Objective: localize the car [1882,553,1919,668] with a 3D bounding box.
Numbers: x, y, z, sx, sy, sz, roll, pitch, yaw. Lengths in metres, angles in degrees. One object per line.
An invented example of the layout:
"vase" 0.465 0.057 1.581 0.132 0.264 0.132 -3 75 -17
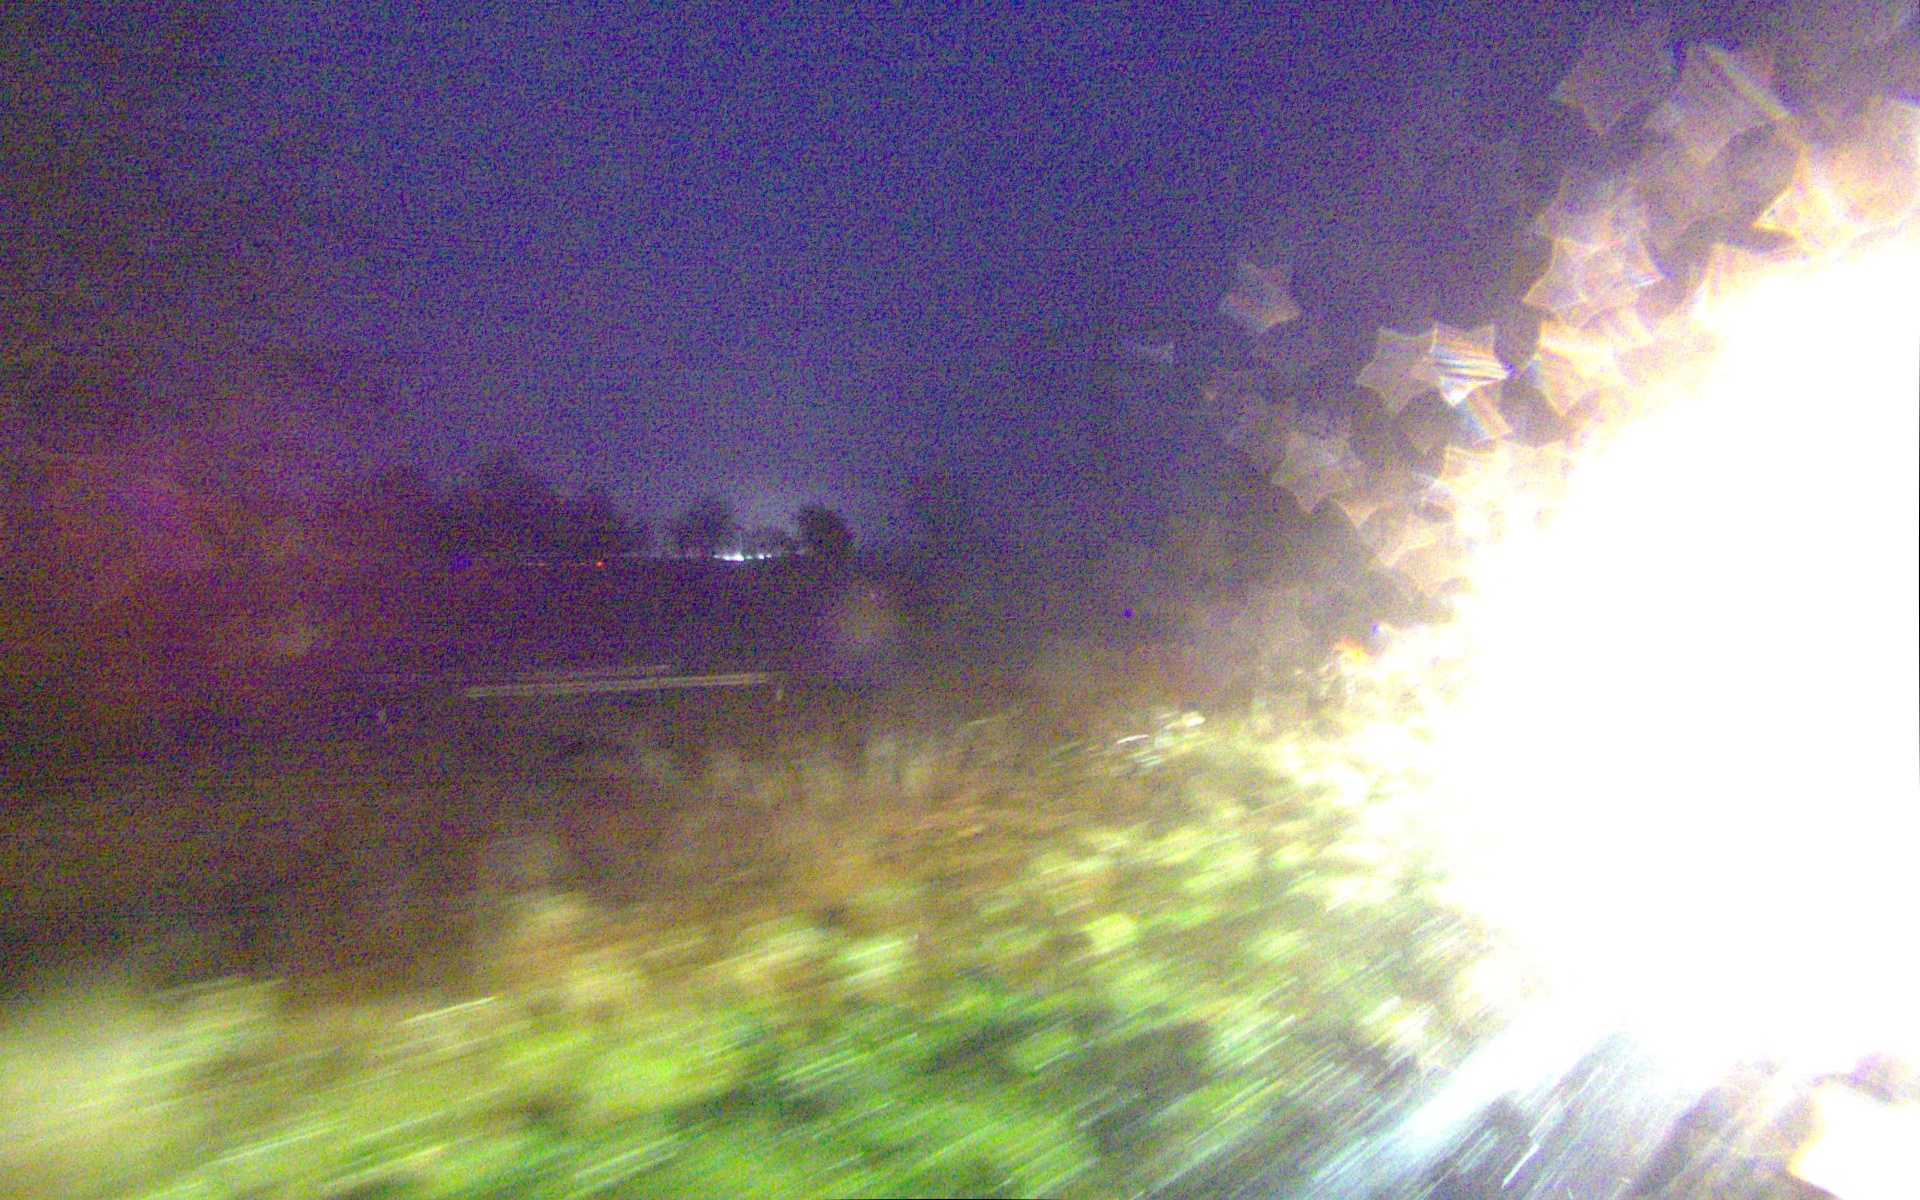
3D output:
"car" 14.633 0.141 14.724 1.681 1.552 3.928 -1 -1 41

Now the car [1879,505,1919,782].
"car" 8.834 0.248 8.003 4.297 1.949 2.000 -3 2 -43
